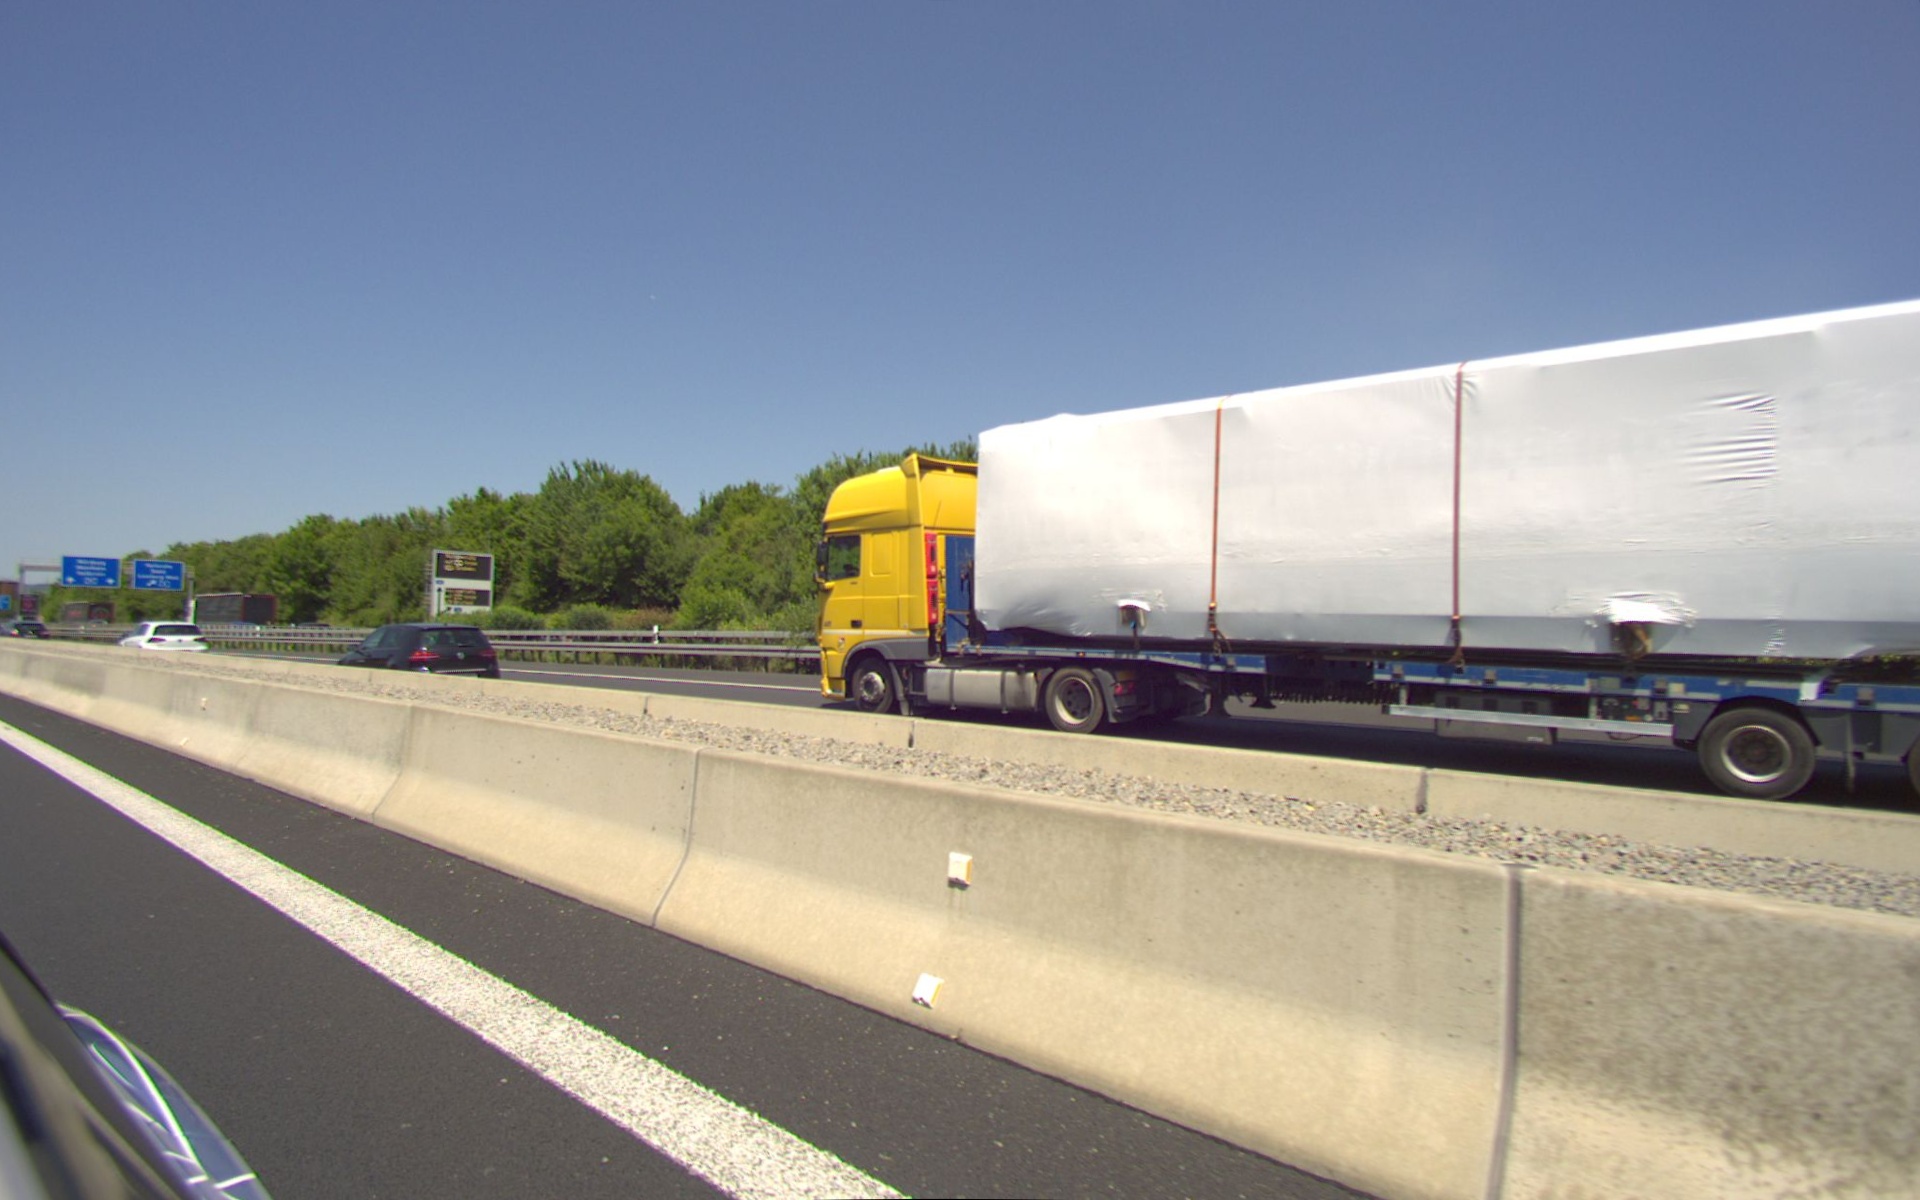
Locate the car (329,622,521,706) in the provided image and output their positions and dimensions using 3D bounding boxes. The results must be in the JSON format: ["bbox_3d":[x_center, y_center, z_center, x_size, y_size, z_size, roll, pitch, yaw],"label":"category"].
[{"bbox_3d":[-10.146,1.109,19.052,4.259,1.360,1.971,-1,-1,44],"label":"car"}]

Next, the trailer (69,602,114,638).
[{"bbox_3d":[-110.732,2.490,128.984,11.649,4.467,2.765,-1,-1,42],"label":"trailer"}]

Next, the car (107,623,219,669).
[{"bbox_3d":[-26.151,1.452,33.143,4.659,1.384,1.973,-1,-2,40],"label":"car"}]

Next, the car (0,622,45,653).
[{"bbox_3d":[-49.511,1.923,52.985,4.609,1.548,1.711,-1,-2,40],"label":"car"}]

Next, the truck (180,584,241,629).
[{"bbox_3d":[-70.824,0.607,95.592,6.633,4.076,3.188,-1,-1,40],"label":"truck"}]

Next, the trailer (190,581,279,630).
[{"bbox_3d":[-65.348,0.542,91.018,13.524,4.076,3.187,-1,-1,40],"label":"trailer"}]

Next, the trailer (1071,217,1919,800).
[{"bbox_3d":[7.072,-0.664,9.404,12.818,4.345,2.689,-1,-1,41],"label":"trailer"}]

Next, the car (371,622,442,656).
[{"bbox_3d":[-31.302,2.179,57.179,4.425,1.872,1.974,-1,-3,39],"label":"car"}]

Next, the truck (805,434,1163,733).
[{"bbox_3d":[0.266,-0.179,15.421,4.863,3.783,2.721,-1,-1,41],"label":"truck"}]
